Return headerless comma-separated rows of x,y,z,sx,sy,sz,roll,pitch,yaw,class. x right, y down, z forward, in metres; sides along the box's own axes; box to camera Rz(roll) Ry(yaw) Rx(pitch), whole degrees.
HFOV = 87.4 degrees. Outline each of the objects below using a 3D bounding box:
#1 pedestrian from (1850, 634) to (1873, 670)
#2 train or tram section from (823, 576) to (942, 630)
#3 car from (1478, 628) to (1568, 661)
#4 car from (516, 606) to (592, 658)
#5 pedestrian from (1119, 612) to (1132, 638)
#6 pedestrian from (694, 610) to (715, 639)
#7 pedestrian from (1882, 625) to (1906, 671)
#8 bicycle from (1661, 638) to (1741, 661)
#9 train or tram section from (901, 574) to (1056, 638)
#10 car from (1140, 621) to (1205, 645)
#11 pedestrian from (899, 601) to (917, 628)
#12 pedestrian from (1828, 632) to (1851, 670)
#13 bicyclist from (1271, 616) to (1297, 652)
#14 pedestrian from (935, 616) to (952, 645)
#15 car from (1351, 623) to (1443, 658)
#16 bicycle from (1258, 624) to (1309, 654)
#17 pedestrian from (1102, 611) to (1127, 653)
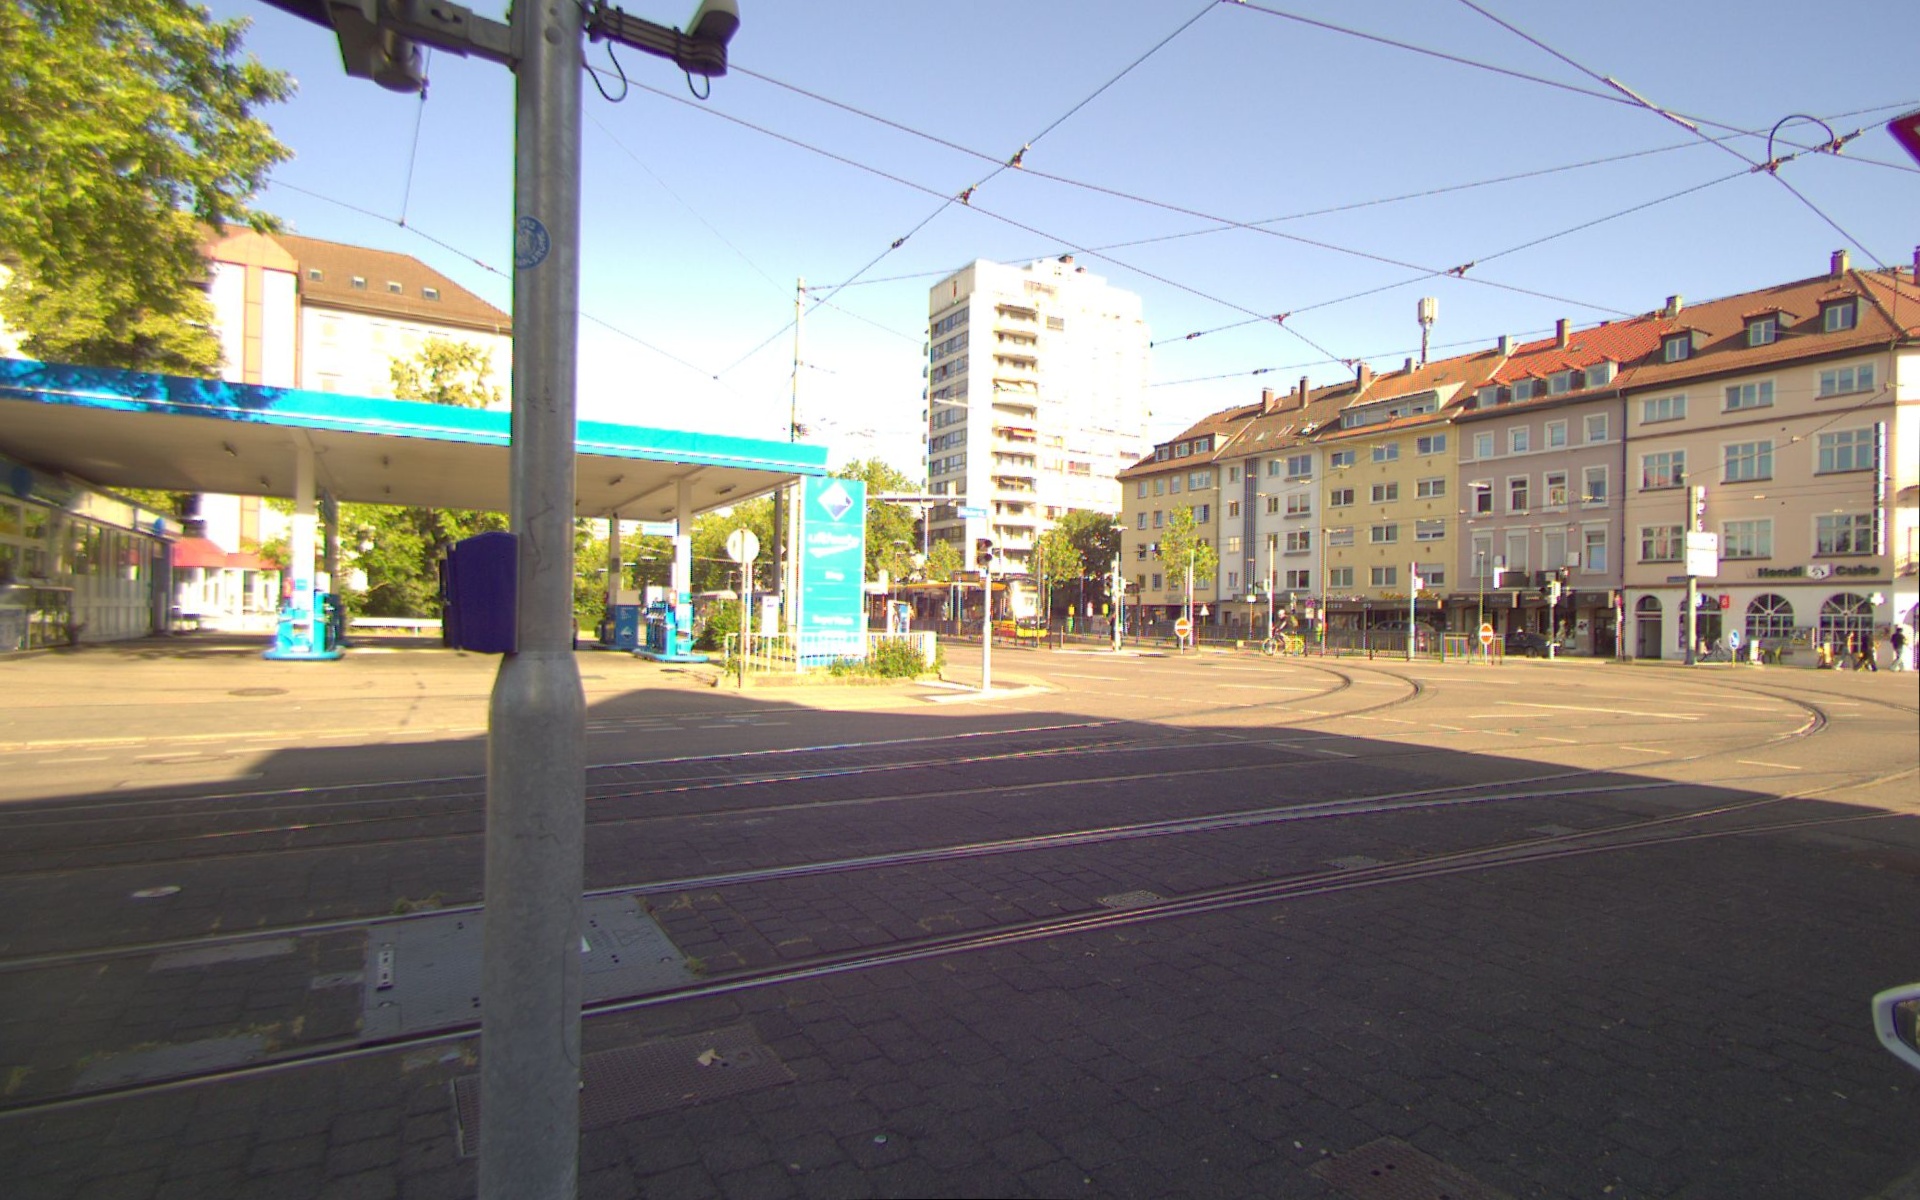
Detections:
38.558,2.227,42.964,0.460,1.496,0.629,2,0,-33,pedestrian
-5.517,0.136,68.053,2.751,3.273,12.286,2,0,-31,train or tram section
30.855,2.421,55.139,1.970,1.692,3.981,1,-1,-21,car
-12.257,0.942,30.204,1.764,1.411,3.455,2,0,-28,car
10.906,1.637,66.128,0.570,1.649,0.522,2,0,-31,pedestrian
-13.465,1.290,52.969,0.817,1.532,0.696,1,-1,-44,pedestrian
39.885,2.040,42.891,0.460,1.906,0.629,2,0,-33,pedestrian
37.500,2.495,50.895,0.989,0.993,3.115,2,0,-29,bicycle
0.704,0.273,57.609,2.751,3.273,12.286,2,0,-31,train or tram section
14.093,2.195,66.863,1.980,1.394,3.961,2,0,-35,car
-3.078,0.864,59.247,0.814,1.532,0.699,1,-1,-33,pedestrian
38.592,2.234,44.074,0.460,1.633,0.629,2,0,-33,pedestrian
12.632,1.317,39.187,0.787,1.384,0.560,2,0,2,bicyclist
-0.925,1.723,56.406,0.810,1.608,0.702,1,-1,-19,pedestrian
22.881,2.112,52.737,1.930,1.639,4.147,2,0,-29,car
12.616,1.517,39.204,1.759,1.084,0.575,2,0,1,bicycle
6.254,1.305,40.672,0.675,1.656,0.694,2,0,-35,pedestrian
